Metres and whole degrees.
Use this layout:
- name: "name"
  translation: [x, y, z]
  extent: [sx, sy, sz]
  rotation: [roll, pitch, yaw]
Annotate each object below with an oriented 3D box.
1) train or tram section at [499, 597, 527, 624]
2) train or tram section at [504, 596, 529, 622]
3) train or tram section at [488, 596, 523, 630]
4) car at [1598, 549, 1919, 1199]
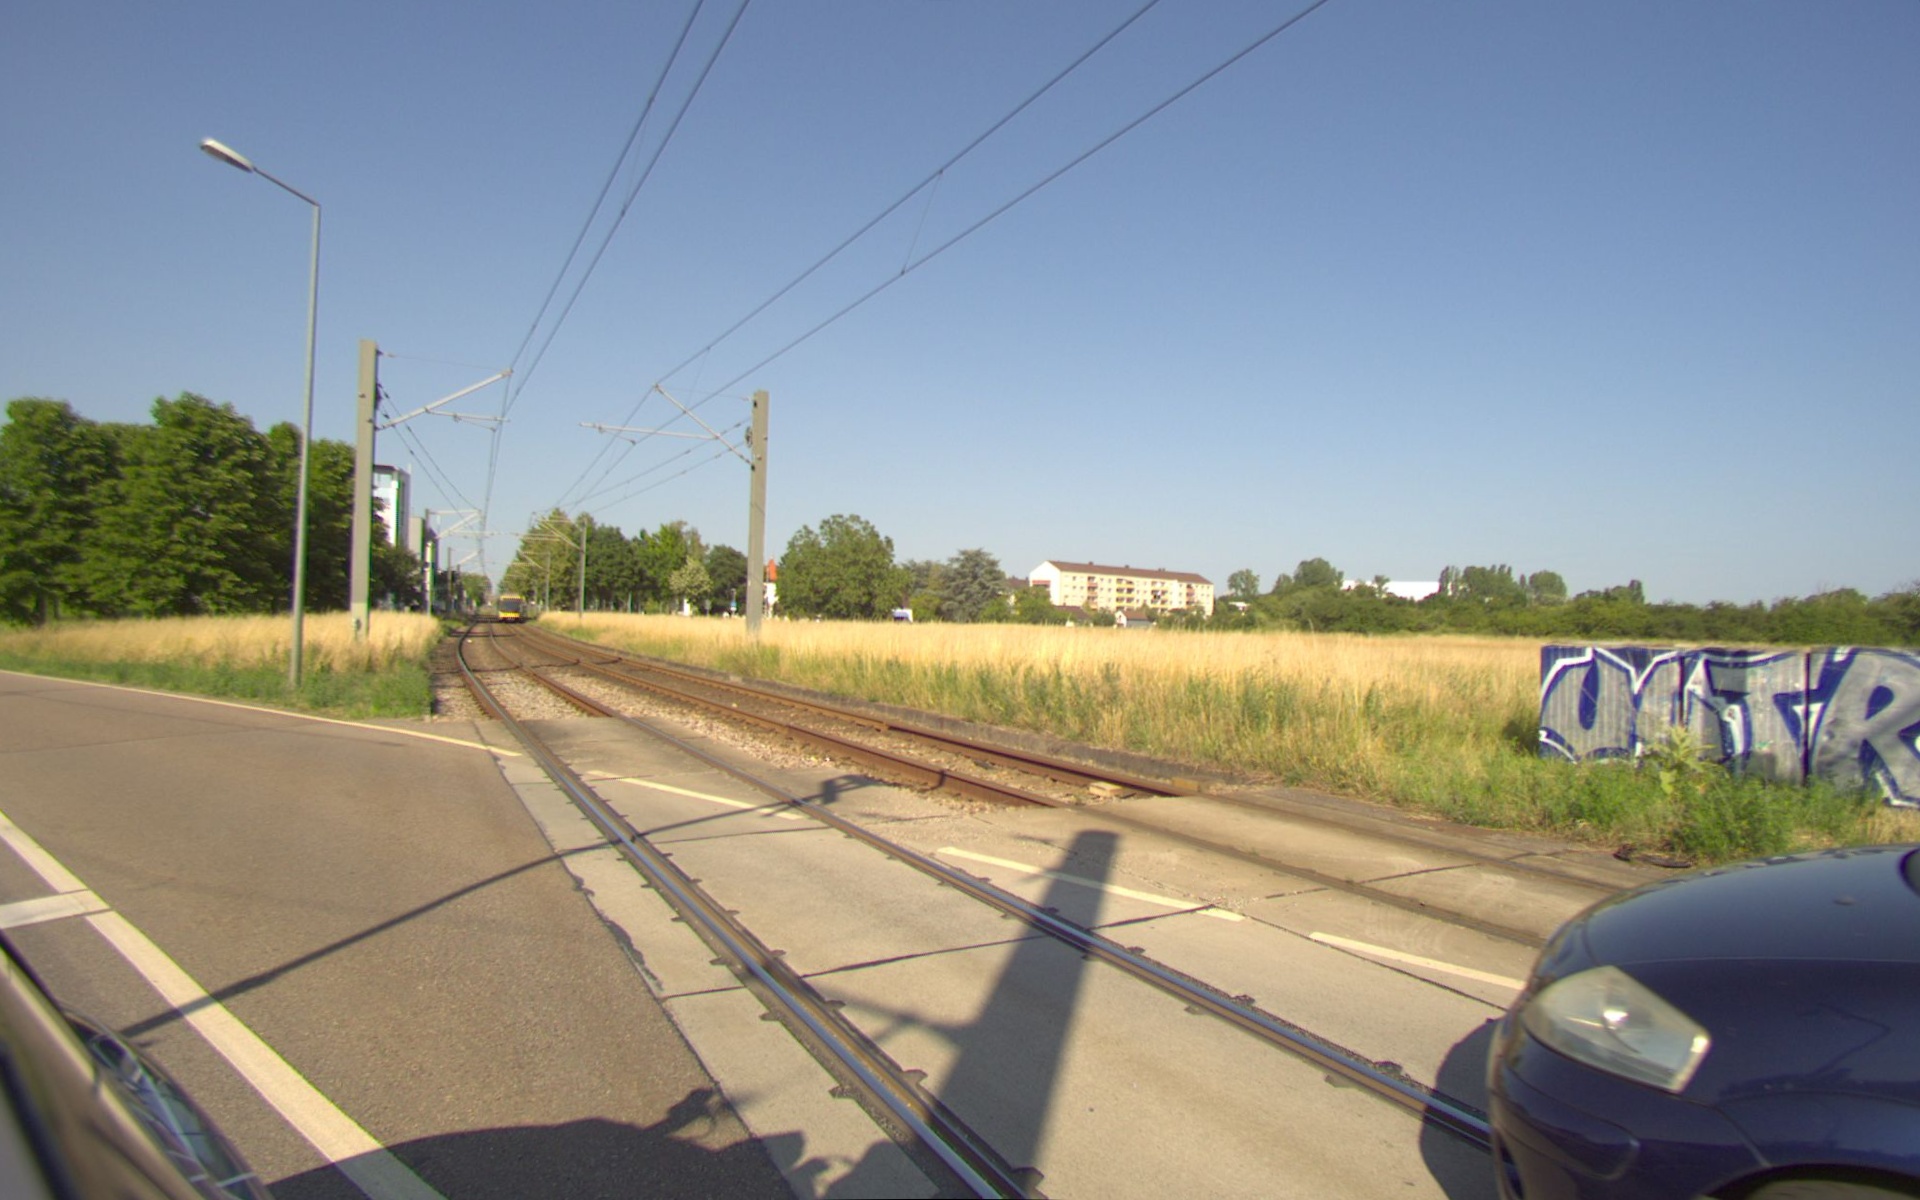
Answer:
- name: "train or tram section"
  translation: [-59.600, 1.320, 135.040]
  extent: [2.876, 3.480, 12.206]
  rotation: [0, 0, -21]
- name: "train or tram section"
  translation: [-64.083, 1.274, 146.384]
  extent: [2.908, 3.511, 12.205]
  rotation: [0, 0, -21]
- name: "train or tram section"
  translation: [-54.921, 1.473, 122.615]
  extent: [2.865, 3.595, 14.308]
  rotation: [0, 1, -20]
- name: "car"
  translation: [3.139, 0.712, 1.048]
  extent: [3.999, 1.505, 1.606]
  rotation: [1, -2, 42]
